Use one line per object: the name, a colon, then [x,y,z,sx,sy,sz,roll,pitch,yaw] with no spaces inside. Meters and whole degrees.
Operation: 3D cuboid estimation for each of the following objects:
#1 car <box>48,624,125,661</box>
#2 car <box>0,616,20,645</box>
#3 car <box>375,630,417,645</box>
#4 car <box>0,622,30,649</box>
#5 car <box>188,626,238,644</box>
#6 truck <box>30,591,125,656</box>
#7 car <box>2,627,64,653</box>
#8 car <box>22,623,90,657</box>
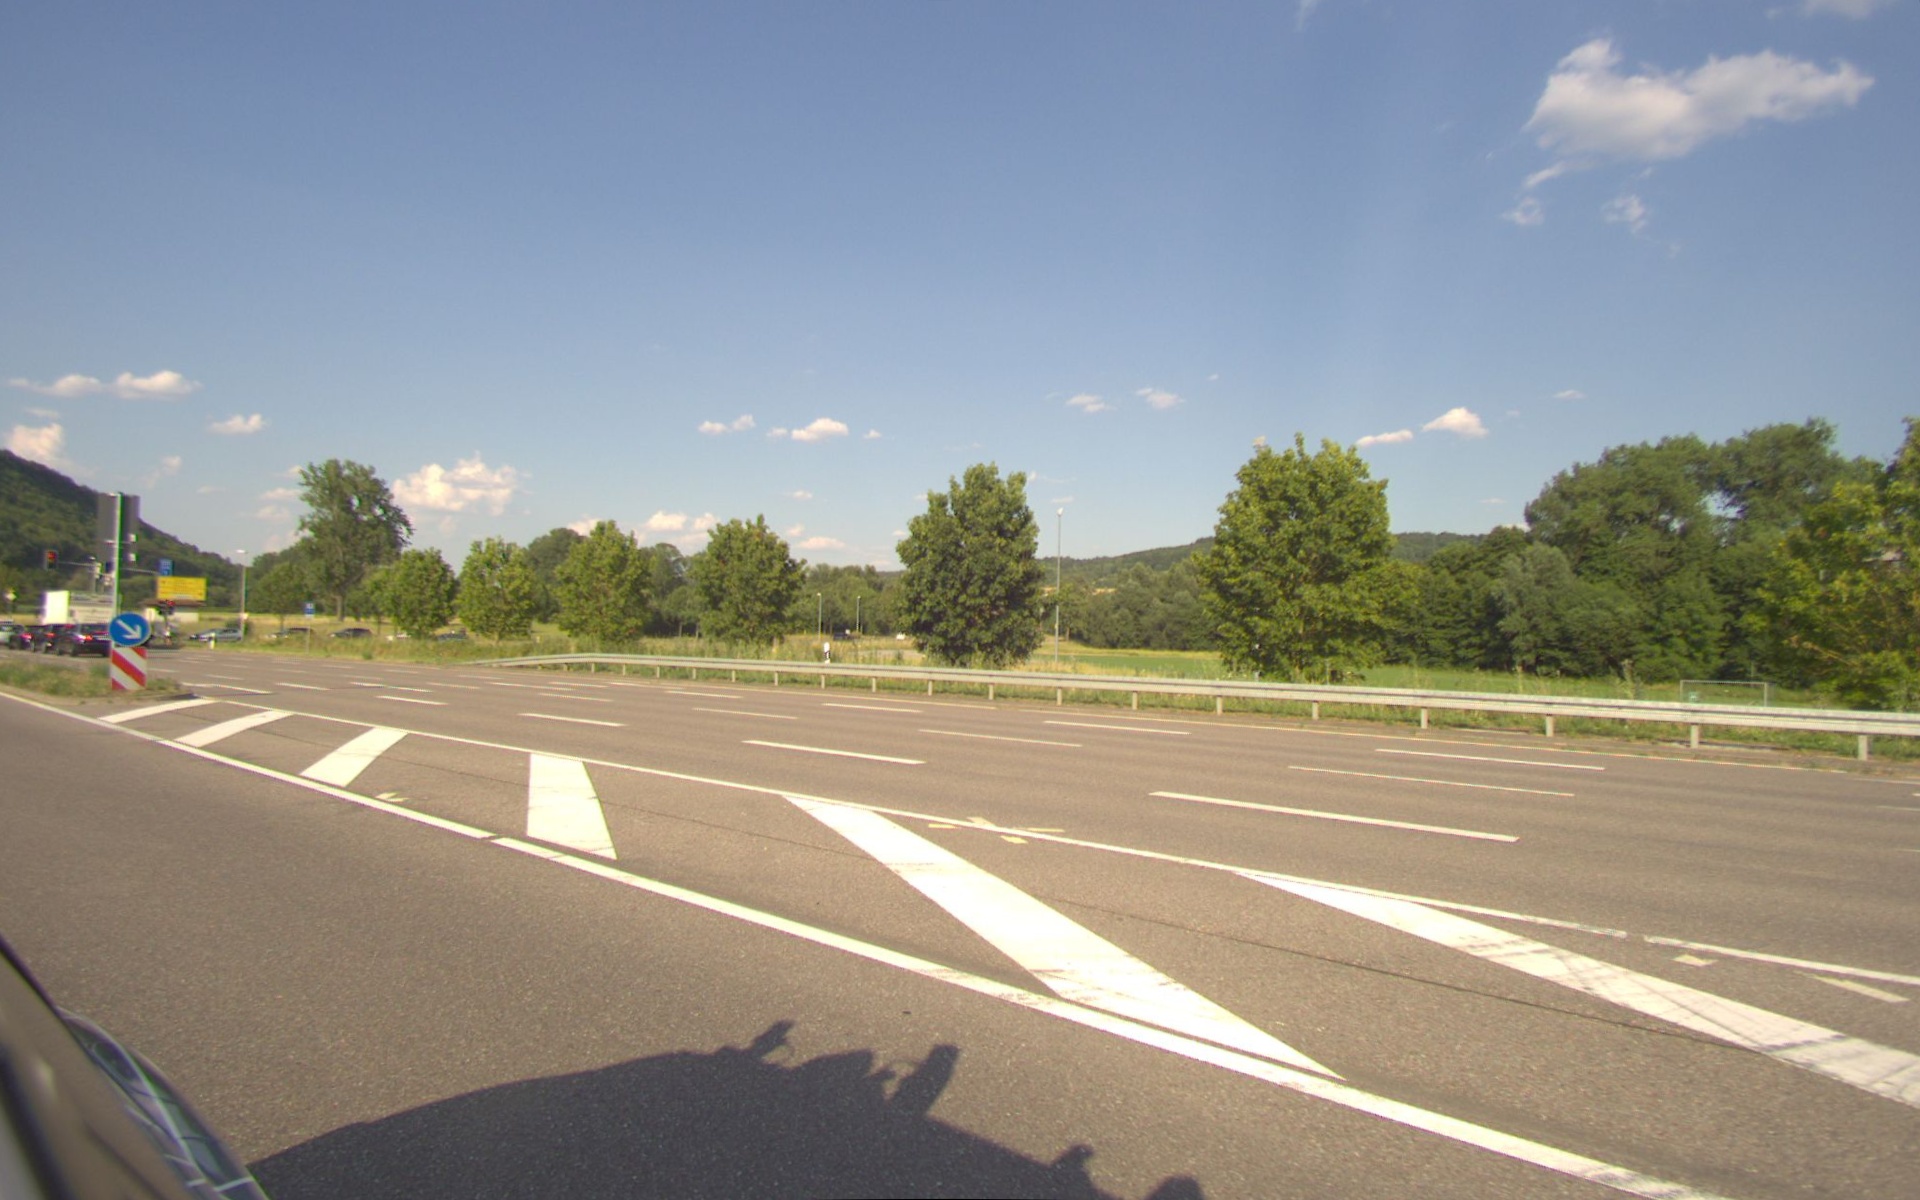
car: [-37.899,1.840,43.877,4.722,1.475,1.698,-1,-4,40]
car: [-59.863,1.864,62.459,4.802,1.691,1.974,1,-2,39]
car: [-65.090,4.310,116.823,1.580,1.630,4.231,0,0,20]
car: [-55.556,2.053,58.637,5.076,1.416,1.685,1,-2,39]
car: [-72.545,3.377,98.304,1.580,1.630,3.675,0,0,20]
truck: [-56.266,1.421,64.407,10.493,3.718,2.902,1,-3,41]
car: [-49.180,2.115,53.659,4.813,1.293,1.685,-1,-3,39]
car: [-43.249,1.893,48.405,4.240,1.485,1.685,0,-4,39]
